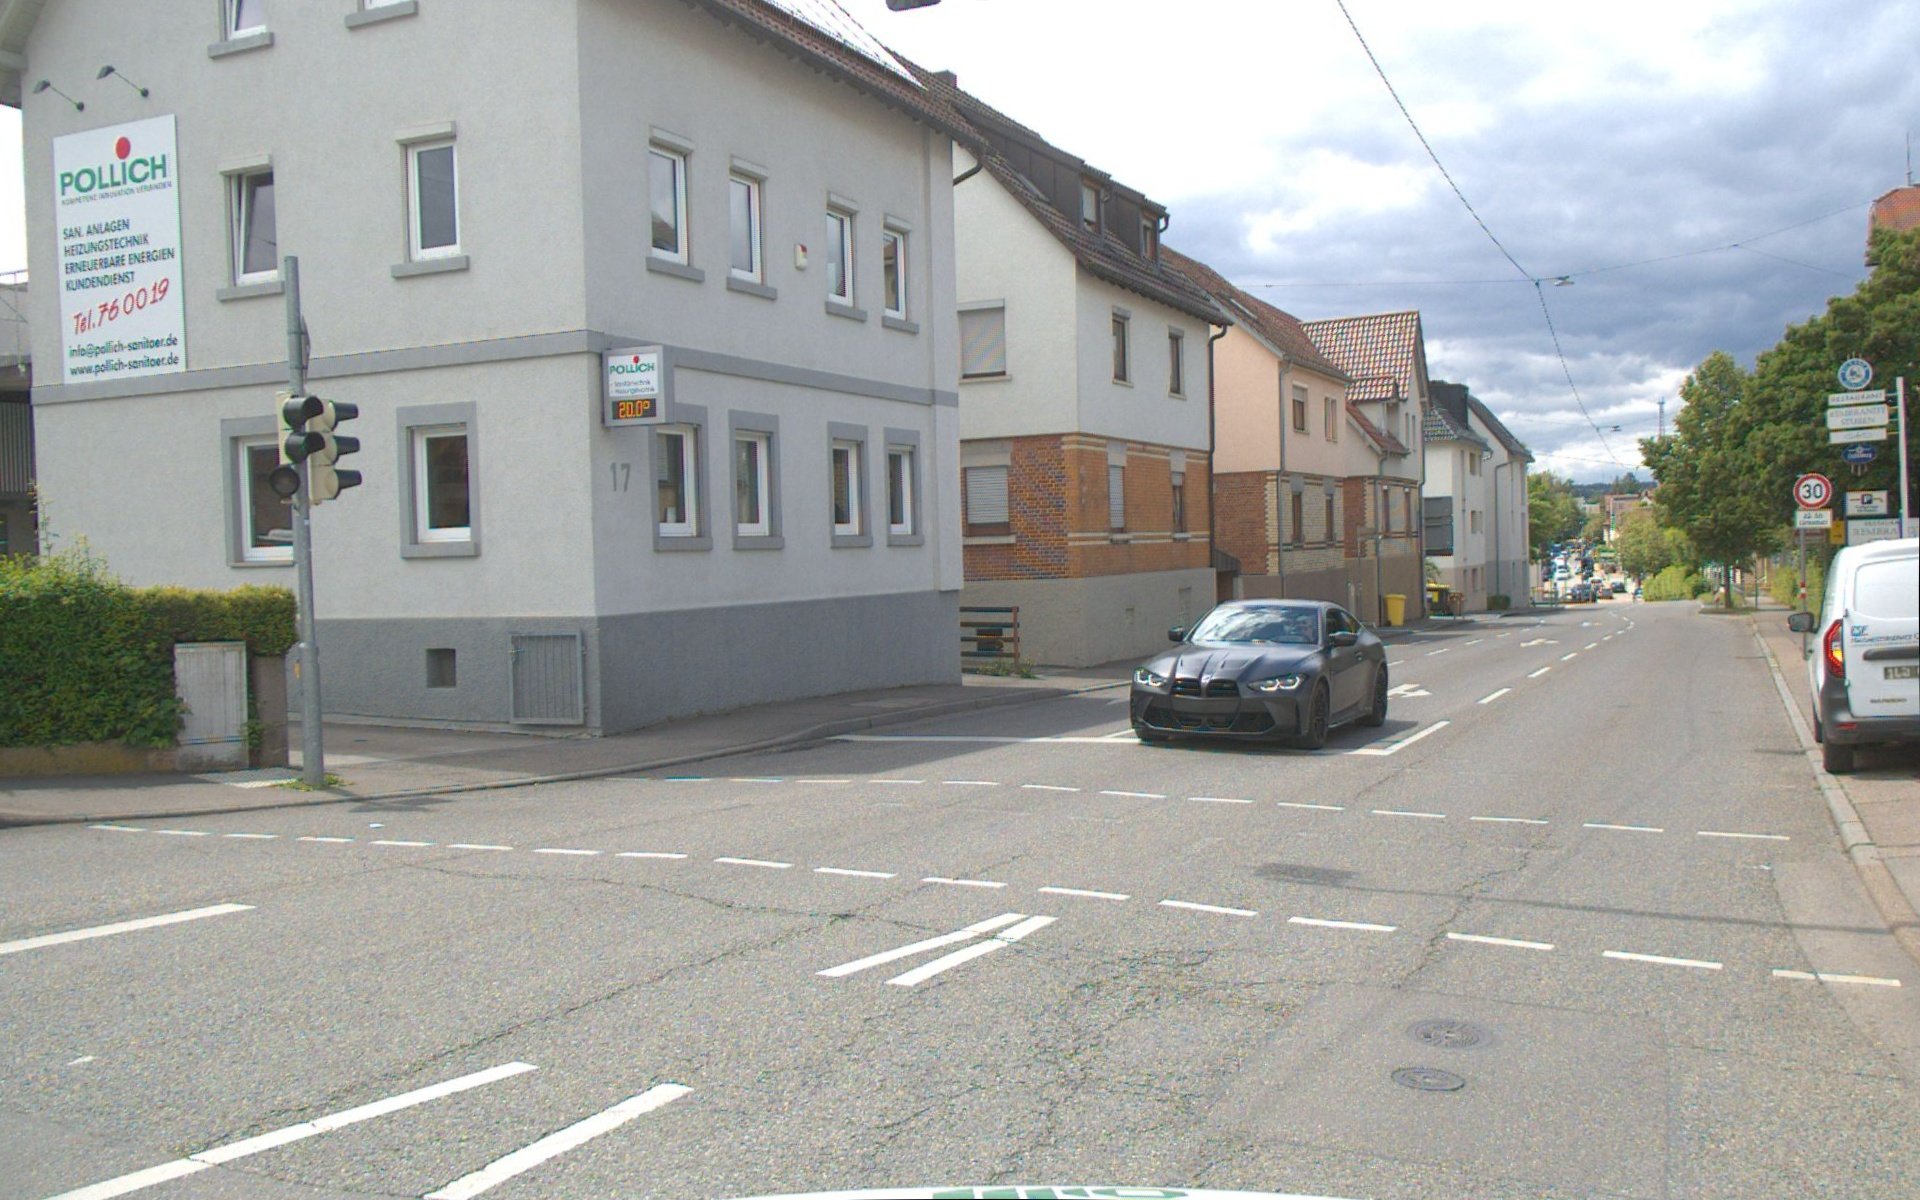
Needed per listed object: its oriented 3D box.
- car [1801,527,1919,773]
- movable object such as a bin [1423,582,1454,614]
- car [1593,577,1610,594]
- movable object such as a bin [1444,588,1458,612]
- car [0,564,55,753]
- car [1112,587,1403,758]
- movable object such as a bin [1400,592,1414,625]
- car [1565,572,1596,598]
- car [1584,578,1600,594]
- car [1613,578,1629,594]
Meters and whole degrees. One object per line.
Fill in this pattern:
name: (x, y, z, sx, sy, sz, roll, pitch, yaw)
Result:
car: (8.431, 0.315, 14.260, 1.873, 1.825, 4.487, -4, -1, 26)
movable object such as a bin: (21.006, -0.092, 72.595, 1.254, 1.333, 0.816, -1, 0, 20)
car: (82.788, -1.860, 213.388, 1.952, 2.049, 4.000, -2, -1, 21)
movable object such as a bin: (21.768, 0.019, 73.344, 0.521, 1.048, 0.455, -1, 0, 23)
car: (-11.592, 0.670, 16.581, 1.954, 1.981, 3.997, -2, 0, 26)
car: (3.293, 0.632, 17.492, 1.954, 1.482, 4.615, 1, 1, 24)
movable object such as a bin: (15.556, 0.293, 57.555, 0.422, 1.147, 0.299, -2, 0, 24)
car: (49.795, -1.213, 132.740, 1.951, 2.049, 4.003, -1, 0, 16)
car: (85.354, -1.821, 223.269, 1.952, 2.049, 4.000, -2, -1, 21)
car: (90.807, -1.933, 227.203, 1.952, 2.049, 4.000, -2, -1, 21)
